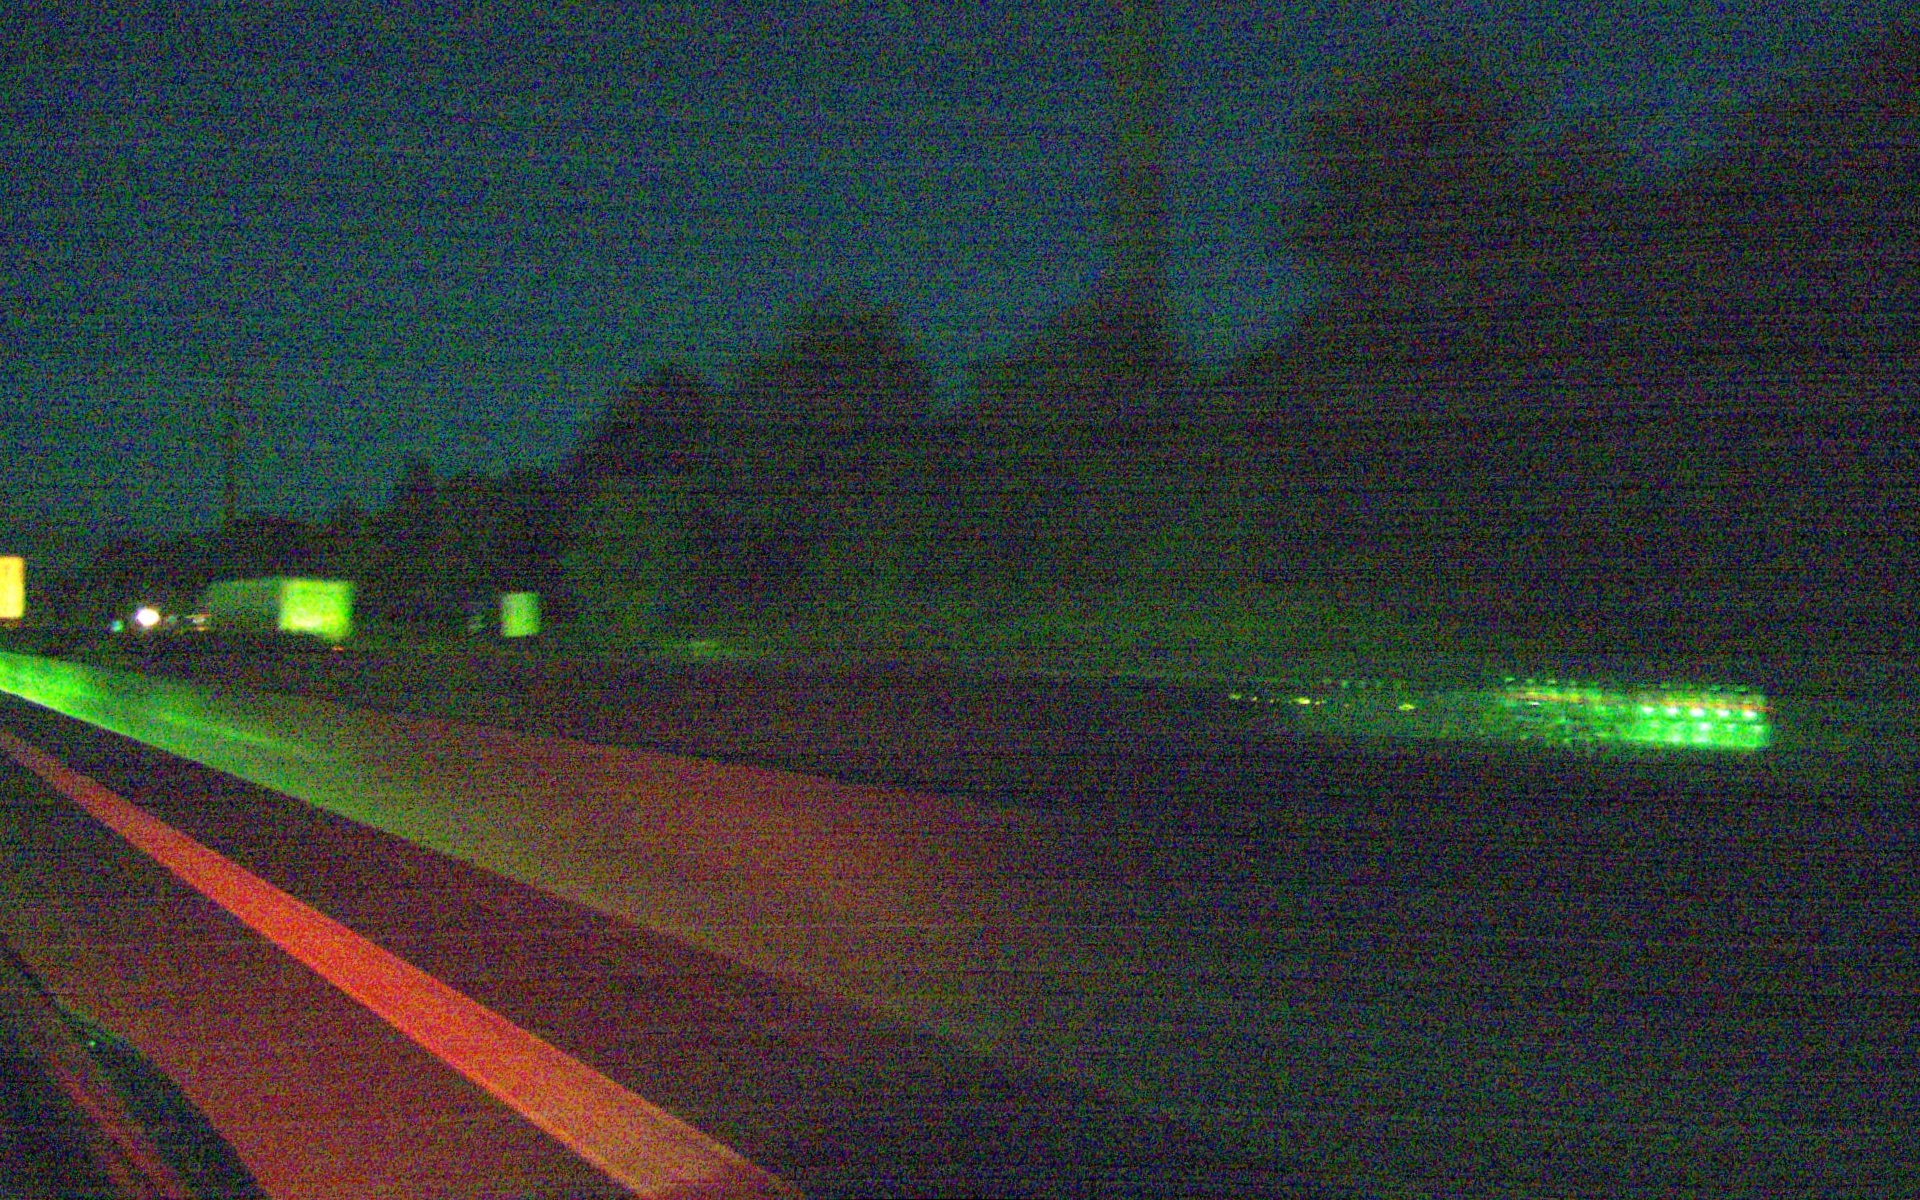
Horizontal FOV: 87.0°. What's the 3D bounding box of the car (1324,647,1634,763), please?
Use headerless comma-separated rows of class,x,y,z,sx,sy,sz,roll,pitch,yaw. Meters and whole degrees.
car,7.174,1.368,14.179,3.627,1.342,1.410,-2,-1,41

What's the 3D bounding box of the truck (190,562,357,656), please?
truck,-36.277,0.709,52.939,16.973,4.235,3.080,-2,-4,42
